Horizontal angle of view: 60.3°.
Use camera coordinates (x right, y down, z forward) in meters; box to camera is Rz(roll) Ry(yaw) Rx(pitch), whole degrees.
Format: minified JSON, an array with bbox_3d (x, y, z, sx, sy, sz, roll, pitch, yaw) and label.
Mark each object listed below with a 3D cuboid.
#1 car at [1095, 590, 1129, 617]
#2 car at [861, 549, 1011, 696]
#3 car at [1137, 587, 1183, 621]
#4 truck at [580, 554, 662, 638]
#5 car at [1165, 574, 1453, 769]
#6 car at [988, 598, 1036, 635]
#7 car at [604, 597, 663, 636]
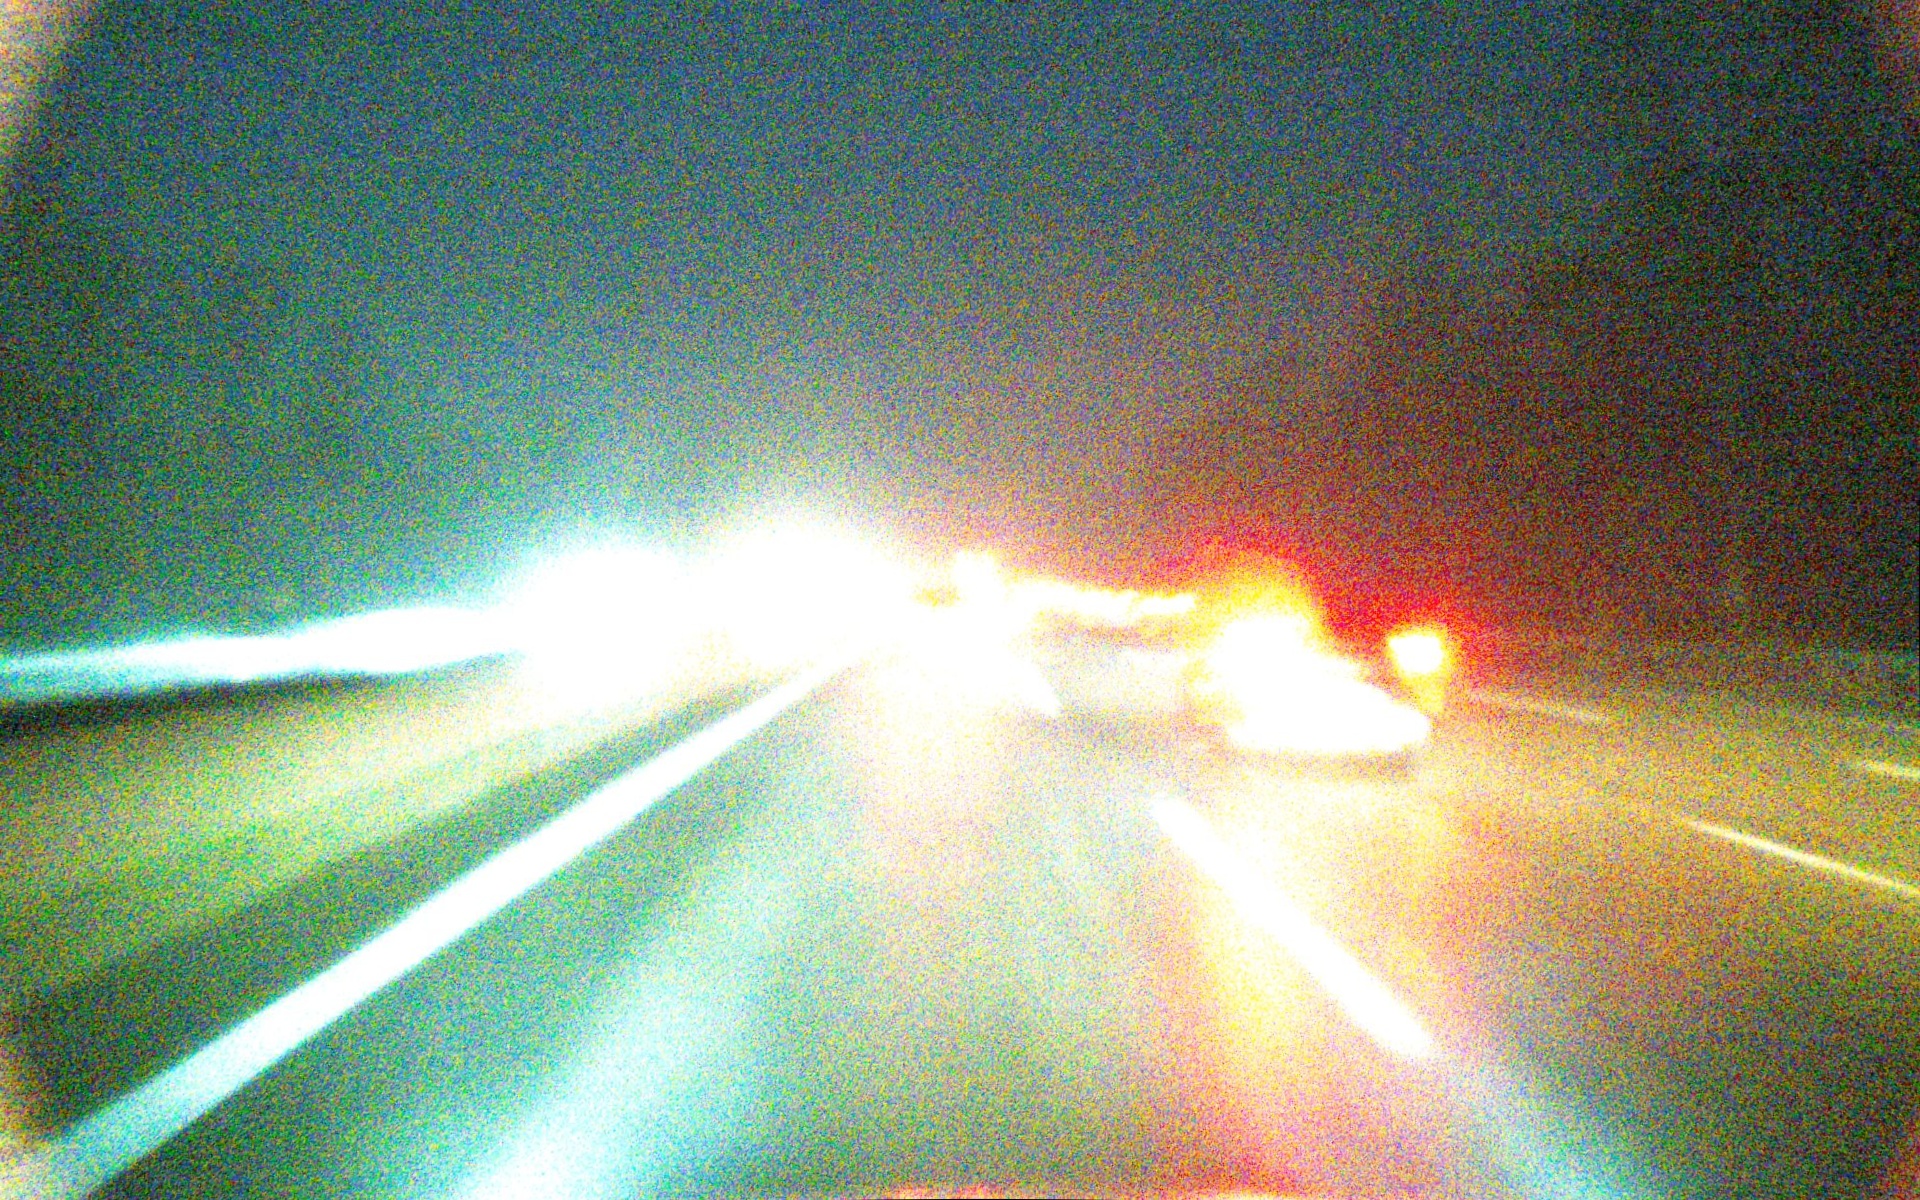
[{"bbox_3d":[9.952,0.233,108.645,1.818,1.646,3.999,1,0,-1],"label":"car"},{"bbox_3d":[-0.548,0.368,32.935,2.655,2.578,5.828,-2,1,-2],"label":"car"},{"bbox_3d":[10.107,0.181,83.697,1.818,1.646,4.000,1,0,0],"label":"car"},{"bbox_3d":[-17.779,-0.234,87.146,2.862,4.166,6.992,-1,0,-1],"label":"truck"},{"bbox_3d":[3.173,0.590,15.851,1.846,1.616,3.999,1,0,-1],"label":"car"},{"bbox_3d":[2.408,0.746,77.381,2.093,1.646,4.000,1,0,0],"label":"car"},{"bbox_3d":[-13.853,0.693,70.257,1.760,1.601,3.973,-1,0,-1],"label":"car"}]
